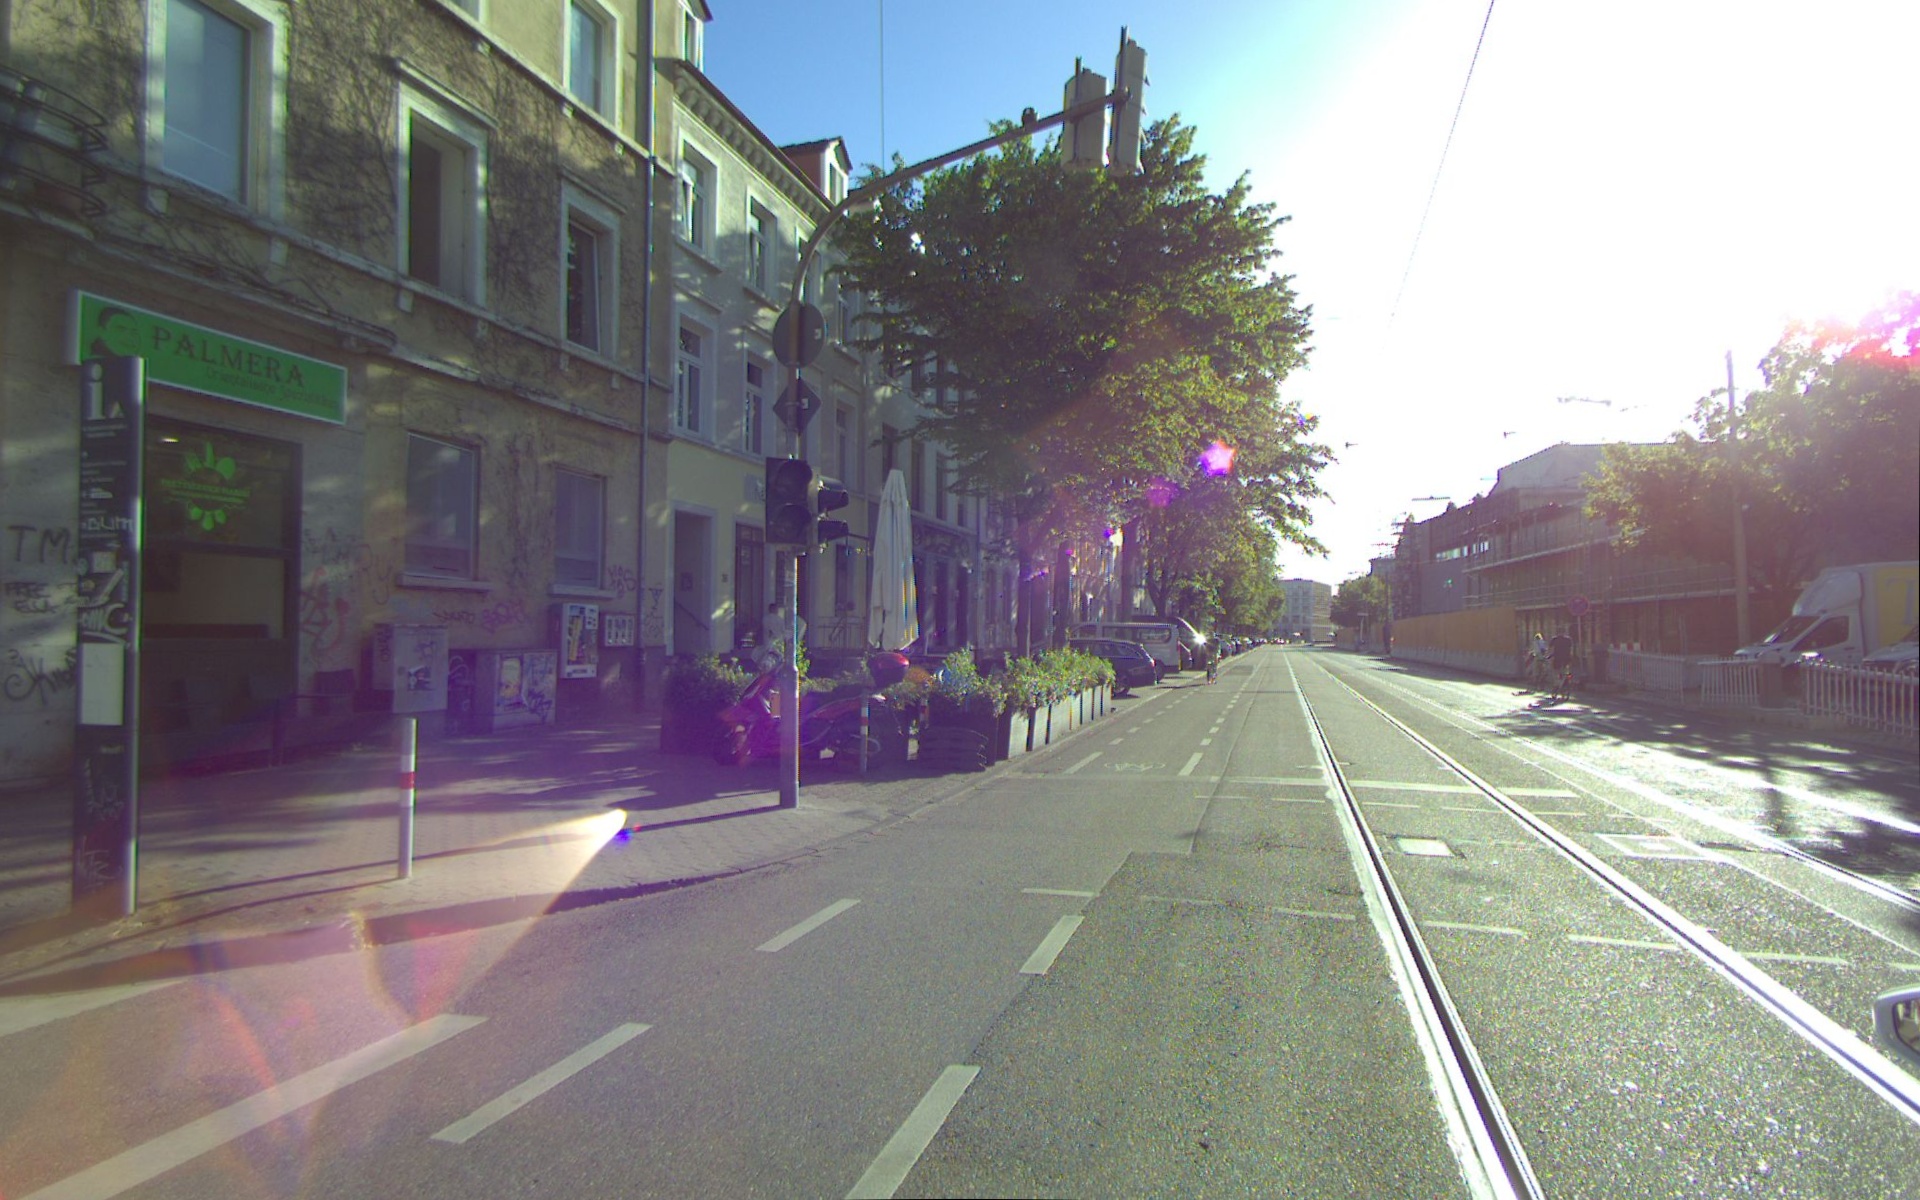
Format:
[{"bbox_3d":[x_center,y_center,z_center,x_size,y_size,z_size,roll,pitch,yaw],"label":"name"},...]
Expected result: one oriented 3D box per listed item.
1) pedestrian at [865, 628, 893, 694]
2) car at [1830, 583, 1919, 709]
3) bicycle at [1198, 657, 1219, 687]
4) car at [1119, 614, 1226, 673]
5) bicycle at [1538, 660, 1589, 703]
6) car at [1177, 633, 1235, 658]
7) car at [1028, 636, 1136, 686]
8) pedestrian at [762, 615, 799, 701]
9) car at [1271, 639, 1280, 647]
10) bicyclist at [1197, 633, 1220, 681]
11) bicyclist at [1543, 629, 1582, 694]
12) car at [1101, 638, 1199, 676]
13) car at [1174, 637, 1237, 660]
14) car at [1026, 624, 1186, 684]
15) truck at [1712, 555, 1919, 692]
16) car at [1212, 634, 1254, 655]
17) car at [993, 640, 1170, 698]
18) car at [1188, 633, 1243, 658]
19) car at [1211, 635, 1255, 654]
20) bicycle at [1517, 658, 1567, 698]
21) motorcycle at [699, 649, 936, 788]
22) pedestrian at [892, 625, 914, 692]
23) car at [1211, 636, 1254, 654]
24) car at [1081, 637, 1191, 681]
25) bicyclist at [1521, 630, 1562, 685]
[{"bbox_3d":[-2.078,1.555,25.756,0.529,1.664,0.570,-1,-2,15],"label":"pedestrian"},{"bbox_3d":[21.998,0.830,20.986,5.274,2.563,2.001,-4,-3,15],"label":"car"},{"bbox_3d":[8.511,2.453,34.342,0.600,0.965,1.884,-1,-2,17],"label":"bicycle"},{"bbox_3d":[10.772,2.181,50.760,5.093,2.611,2.247,2,-2,15],"label":"car"},{"bbox_3d":[15.741,2.100,26.227,0.669,1.031,1.922,-1,-2,17],"label":"bicycle"},{"bbox_3d":[19.586,3.601,80.099,4.022,1.776,1.828,3,-2,-4],"label":"car"},{"bbox_3d":[3.961,1.980,32.915,3.262,1.523,1.687,0,1,-6],"label":"car"},{"bbox_3d":[-3.547,1.143,19.868,0.529,1.664,0.570,-1,-2,15],"label":"pedestrian"},{"bbox_3d":[72.483,9.892,230.782,1.652,1.861,3.875,2,-2,14],"label":"car"},{"bbox_3d":[8.529,1.945,34.416,0.712,1.593,1.029,-1,-2,17],"label":"bicyclist"},{"bbox_3d":[15.762,1.604,26.313,0.669,1.680,0.812,-1,-2,17],"label":"bicyclist"},{"bbox_3d":[8.427,2.526,44.858,4.019,1.438,1.829,3,-2,1],"label":"car"},{"bbox_3d":[17.834,3.529,73.055,4.021,1.472,1.828,3,-2,-2],"label":"car"},{"bbox_3d":[5.085,1.874,35.335,5.247,2.017,2.037,0,-2,-6],"label":"car"},{"bbox_3d":[24.347,0.601,26.226,6.980,3.391,2.391,-2,-2,18],"label":"truck"},{"bbox_3d":[29.944,4.913,110.228,4.022,2.081,1.828,3,-2,-4],"label":"car"},{"bbox_3d":[3.249,1.858,27.383,4.556,1.510,1.688,1,-2,-5],"label":"car"},{"bbox_3d":[20.922,3.700,82.338,4.022,1.776,1.828,3,-2,-4],"label":"car"},{"bbox_3d":[28.278,4.603,104.167,4.022,1.776,1.828,3,-2,-4],"label":"car"},{"bbox_3d":[18.277,2.426,31.595,0.878,1.107,2.431,1,-2,18],"label":"bicycle"},{"bbox_3d":[-1.549,1.266,10.899,2.379,1.368,0.998,3,-3,-12],"label":"motorcycle"},{"bbox_3d":[-1.512,1.532,26.483,0.495,1.737,0.540,-1,-2,4],"label":"pedestrian"},{"bbox_3d":[29.157,4.802,107.395,4.022,1.776,1.828,3,-2,-4],"label":"car"},{"bbox_3d":[6.765,2.249,38.747,4.017,1.438,1.830,3,-2,10],"label":"car"},{"bbox_3d":[18.297,1.793,31.618,0.878,1.661,1.100,1,-1,18],"label":"bicyclist"}]
